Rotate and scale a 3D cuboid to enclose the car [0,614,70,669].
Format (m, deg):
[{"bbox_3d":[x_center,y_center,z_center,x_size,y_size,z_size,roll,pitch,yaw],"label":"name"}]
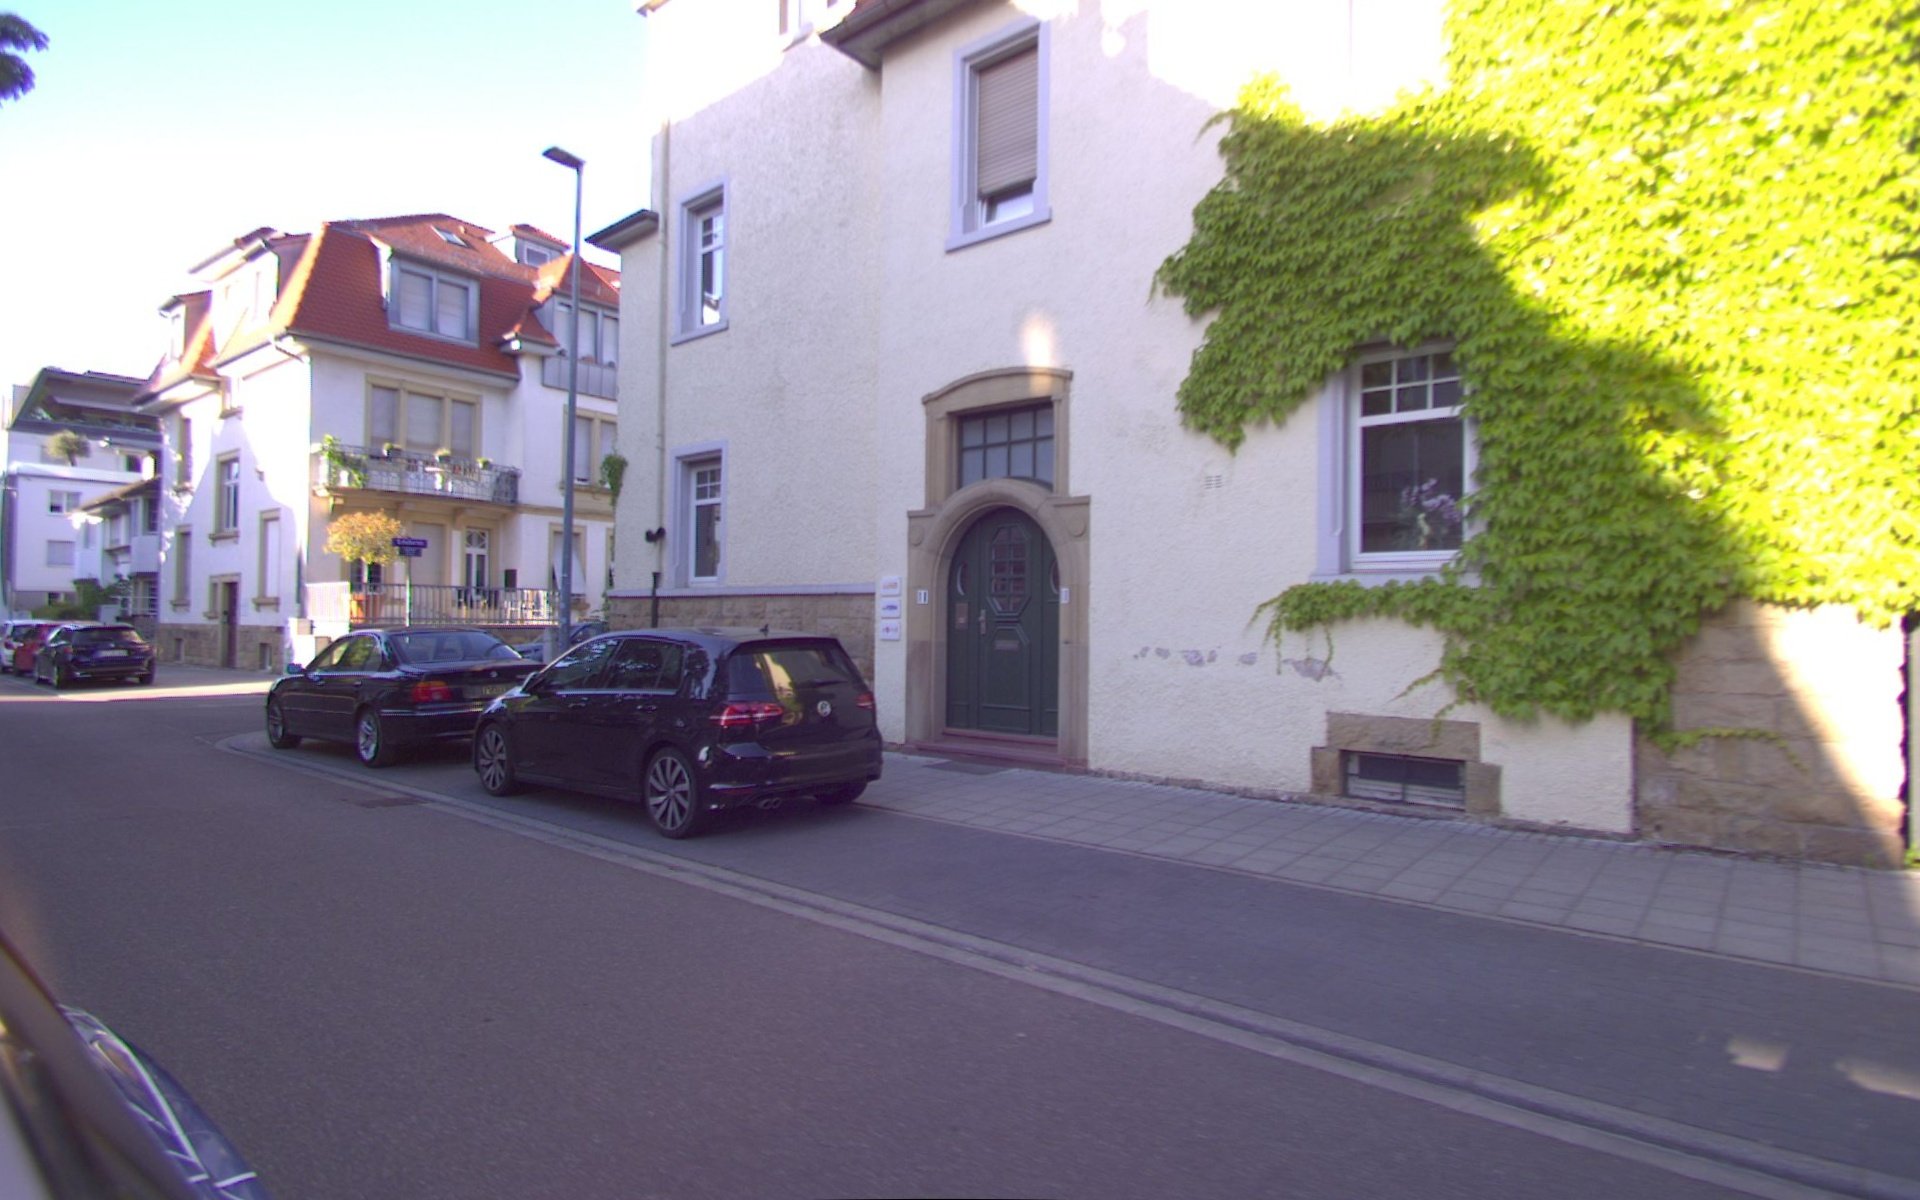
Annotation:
[{"bbox_3d":[-27.829,1.204,30.011,3.702,1.532,1.566,-1,-1,39],"label":"car"}]

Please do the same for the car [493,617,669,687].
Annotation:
[{"bbox_3d":[-9.215,1.246,24.848,1.758,1.571,3.728,-3,-3,36],"label":"car"}]

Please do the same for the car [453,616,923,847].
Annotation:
[{"bbox_3d":[-2.394,0.857,8.283,4.164,1.426,1.637,-1,-1,40],"label":"car"}]

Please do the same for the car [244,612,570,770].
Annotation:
[{"bbox_3d":[-6.529,0.905,11.723,4.628,1.481,1.692,-1,-1,39],"label":"car"}]

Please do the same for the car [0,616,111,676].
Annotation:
[{"bbox_3d":[-24.470,1.195,27.313,3.699,1.488,1.567,-1,-1,37],"label":"car"}]

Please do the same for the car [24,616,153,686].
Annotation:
[{"bbox_3d":[-20.497,1.136,23.734,4.628,1.465,1.636,-1,-1,41],"label":"car"}]
